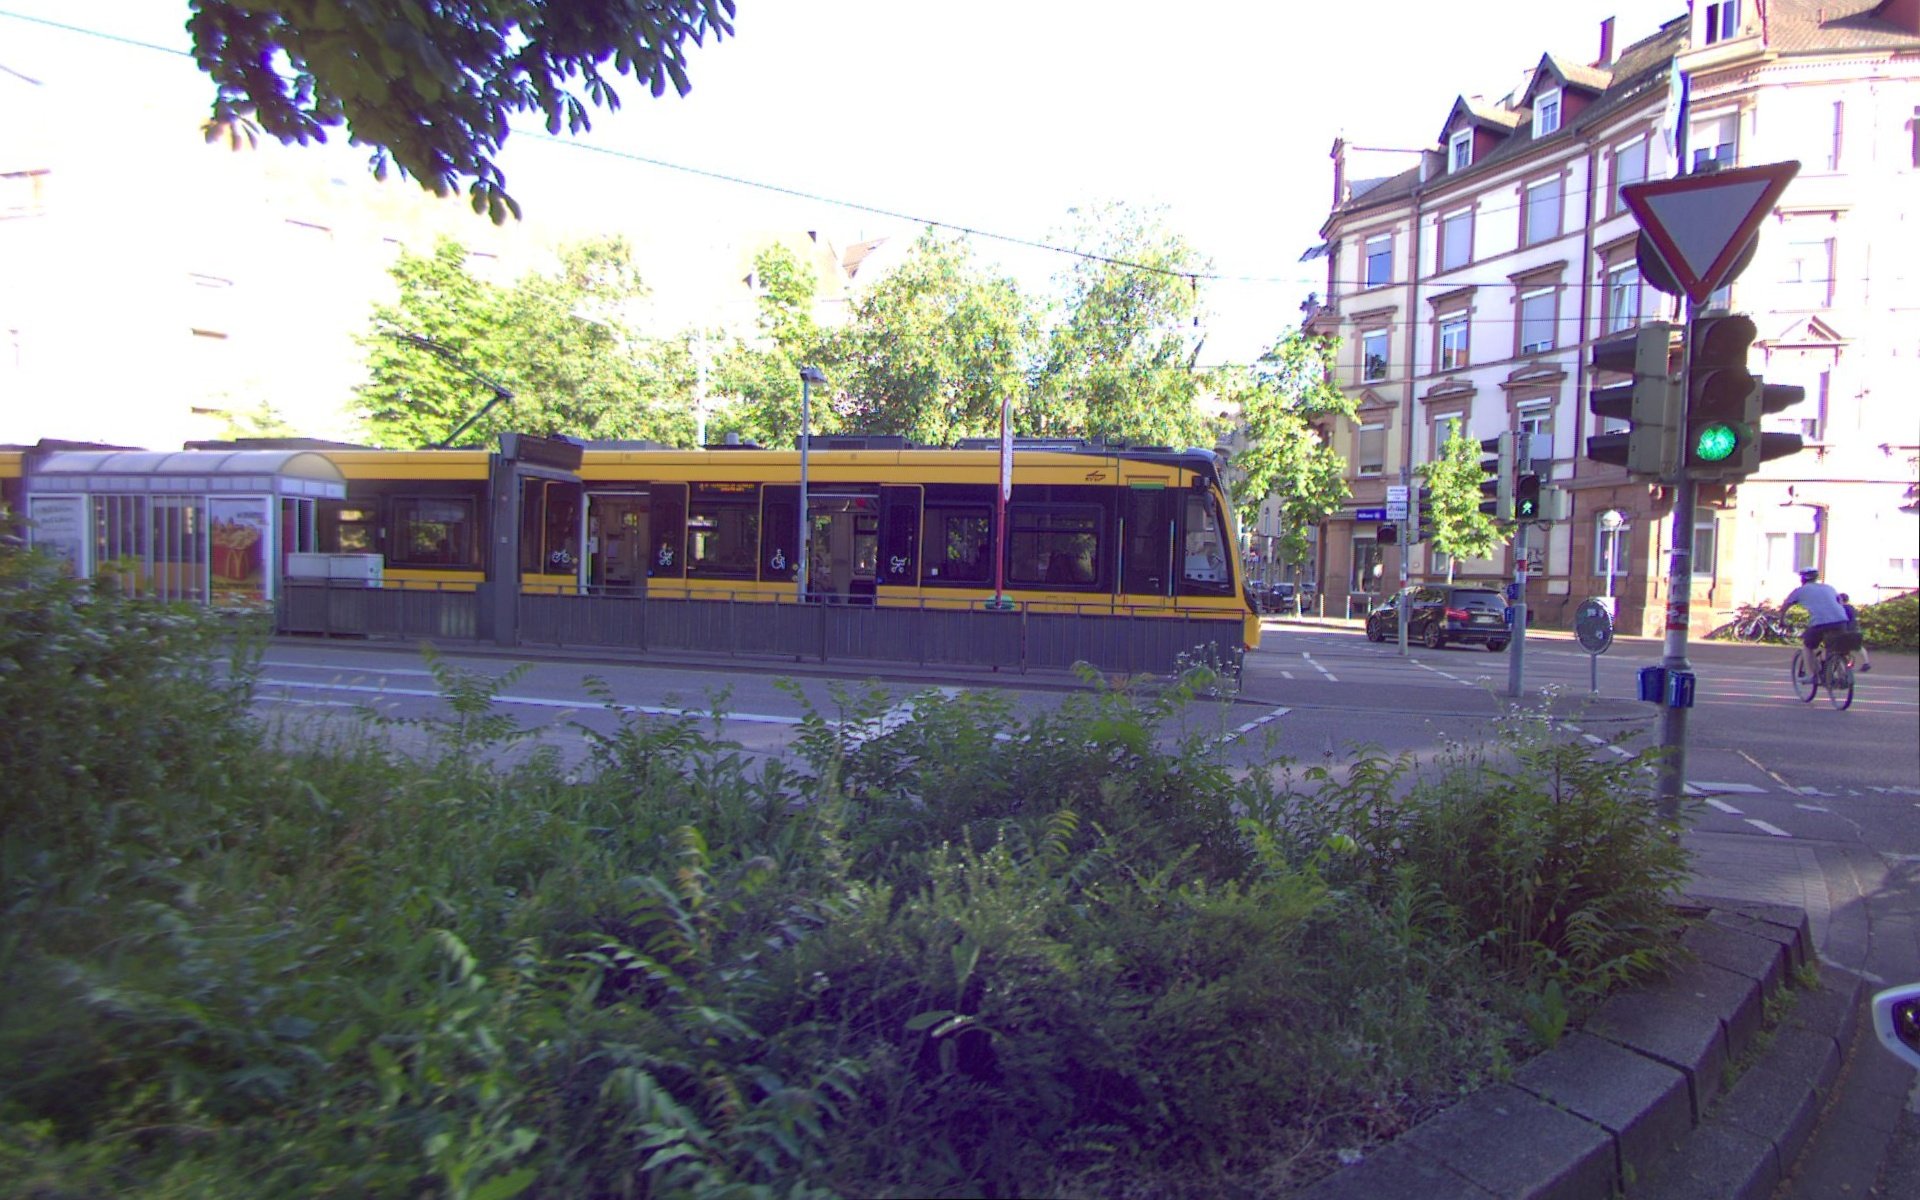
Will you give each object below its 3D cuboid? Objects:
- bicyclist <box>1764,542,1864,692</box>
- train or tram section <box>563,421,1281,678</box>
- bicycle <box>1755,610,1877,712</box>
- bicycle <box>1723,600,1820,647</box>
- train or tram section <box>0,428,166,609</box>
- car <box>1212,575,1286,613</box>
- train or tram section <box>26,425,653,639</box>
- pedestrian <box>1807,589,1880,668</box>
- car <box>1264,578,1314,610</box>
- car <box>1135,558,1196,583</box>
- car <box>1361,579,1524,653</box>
[{"bbox_3d":[11.564,0.203,13.642,0.782,1.939,0.943,3,2,30],"label":"bicyclist"},{"bbox_3d":[-0.780,-0.957,17.069,11.562,3.668,2.801,2,2,14],"label":"train or tram section"},{"bbox_3d":[11.519,0.766,13.601,0.798,1.201,2.222,2,2,30],"label":"bicycle"},{"bbox_3d":[22.146,0.622,27.444,0.440,1.122,1.942,0,4,-42],"label":"bicycle"},{"bbox_3d":[-24.265,-1.878,22.779,12.425,3.605,2.775,2,2,14],"label":"train or tram section"},{"bbox_3d":[13.497,-0.273,46.791,1.769,1.633,4.350,3,2,38],"label":"car"},{"bbox_3d":[-12.310,-1.413,19.868,12.169,3.636,2.787,2,2,14],"label":"train or tram section"},{"bbox_3d":[19.590,0.613,22.288,0.714,1.657,0.901,0,4,-18],"label":"pedestrian"},{"bbox_3d":[16.666,-0.313,50.796,1.481,1.477,3.196,3,2,35],"label":"car"},{"bbox_3d":[15.244,-2.194,74.558,3.936,1.669,1.871,3,2,38],"label":"car"},{"bbox_3d":[11.599,0.314,24.460,1.762,1.563,3.854,0,3,-7],"label":"car"}]
